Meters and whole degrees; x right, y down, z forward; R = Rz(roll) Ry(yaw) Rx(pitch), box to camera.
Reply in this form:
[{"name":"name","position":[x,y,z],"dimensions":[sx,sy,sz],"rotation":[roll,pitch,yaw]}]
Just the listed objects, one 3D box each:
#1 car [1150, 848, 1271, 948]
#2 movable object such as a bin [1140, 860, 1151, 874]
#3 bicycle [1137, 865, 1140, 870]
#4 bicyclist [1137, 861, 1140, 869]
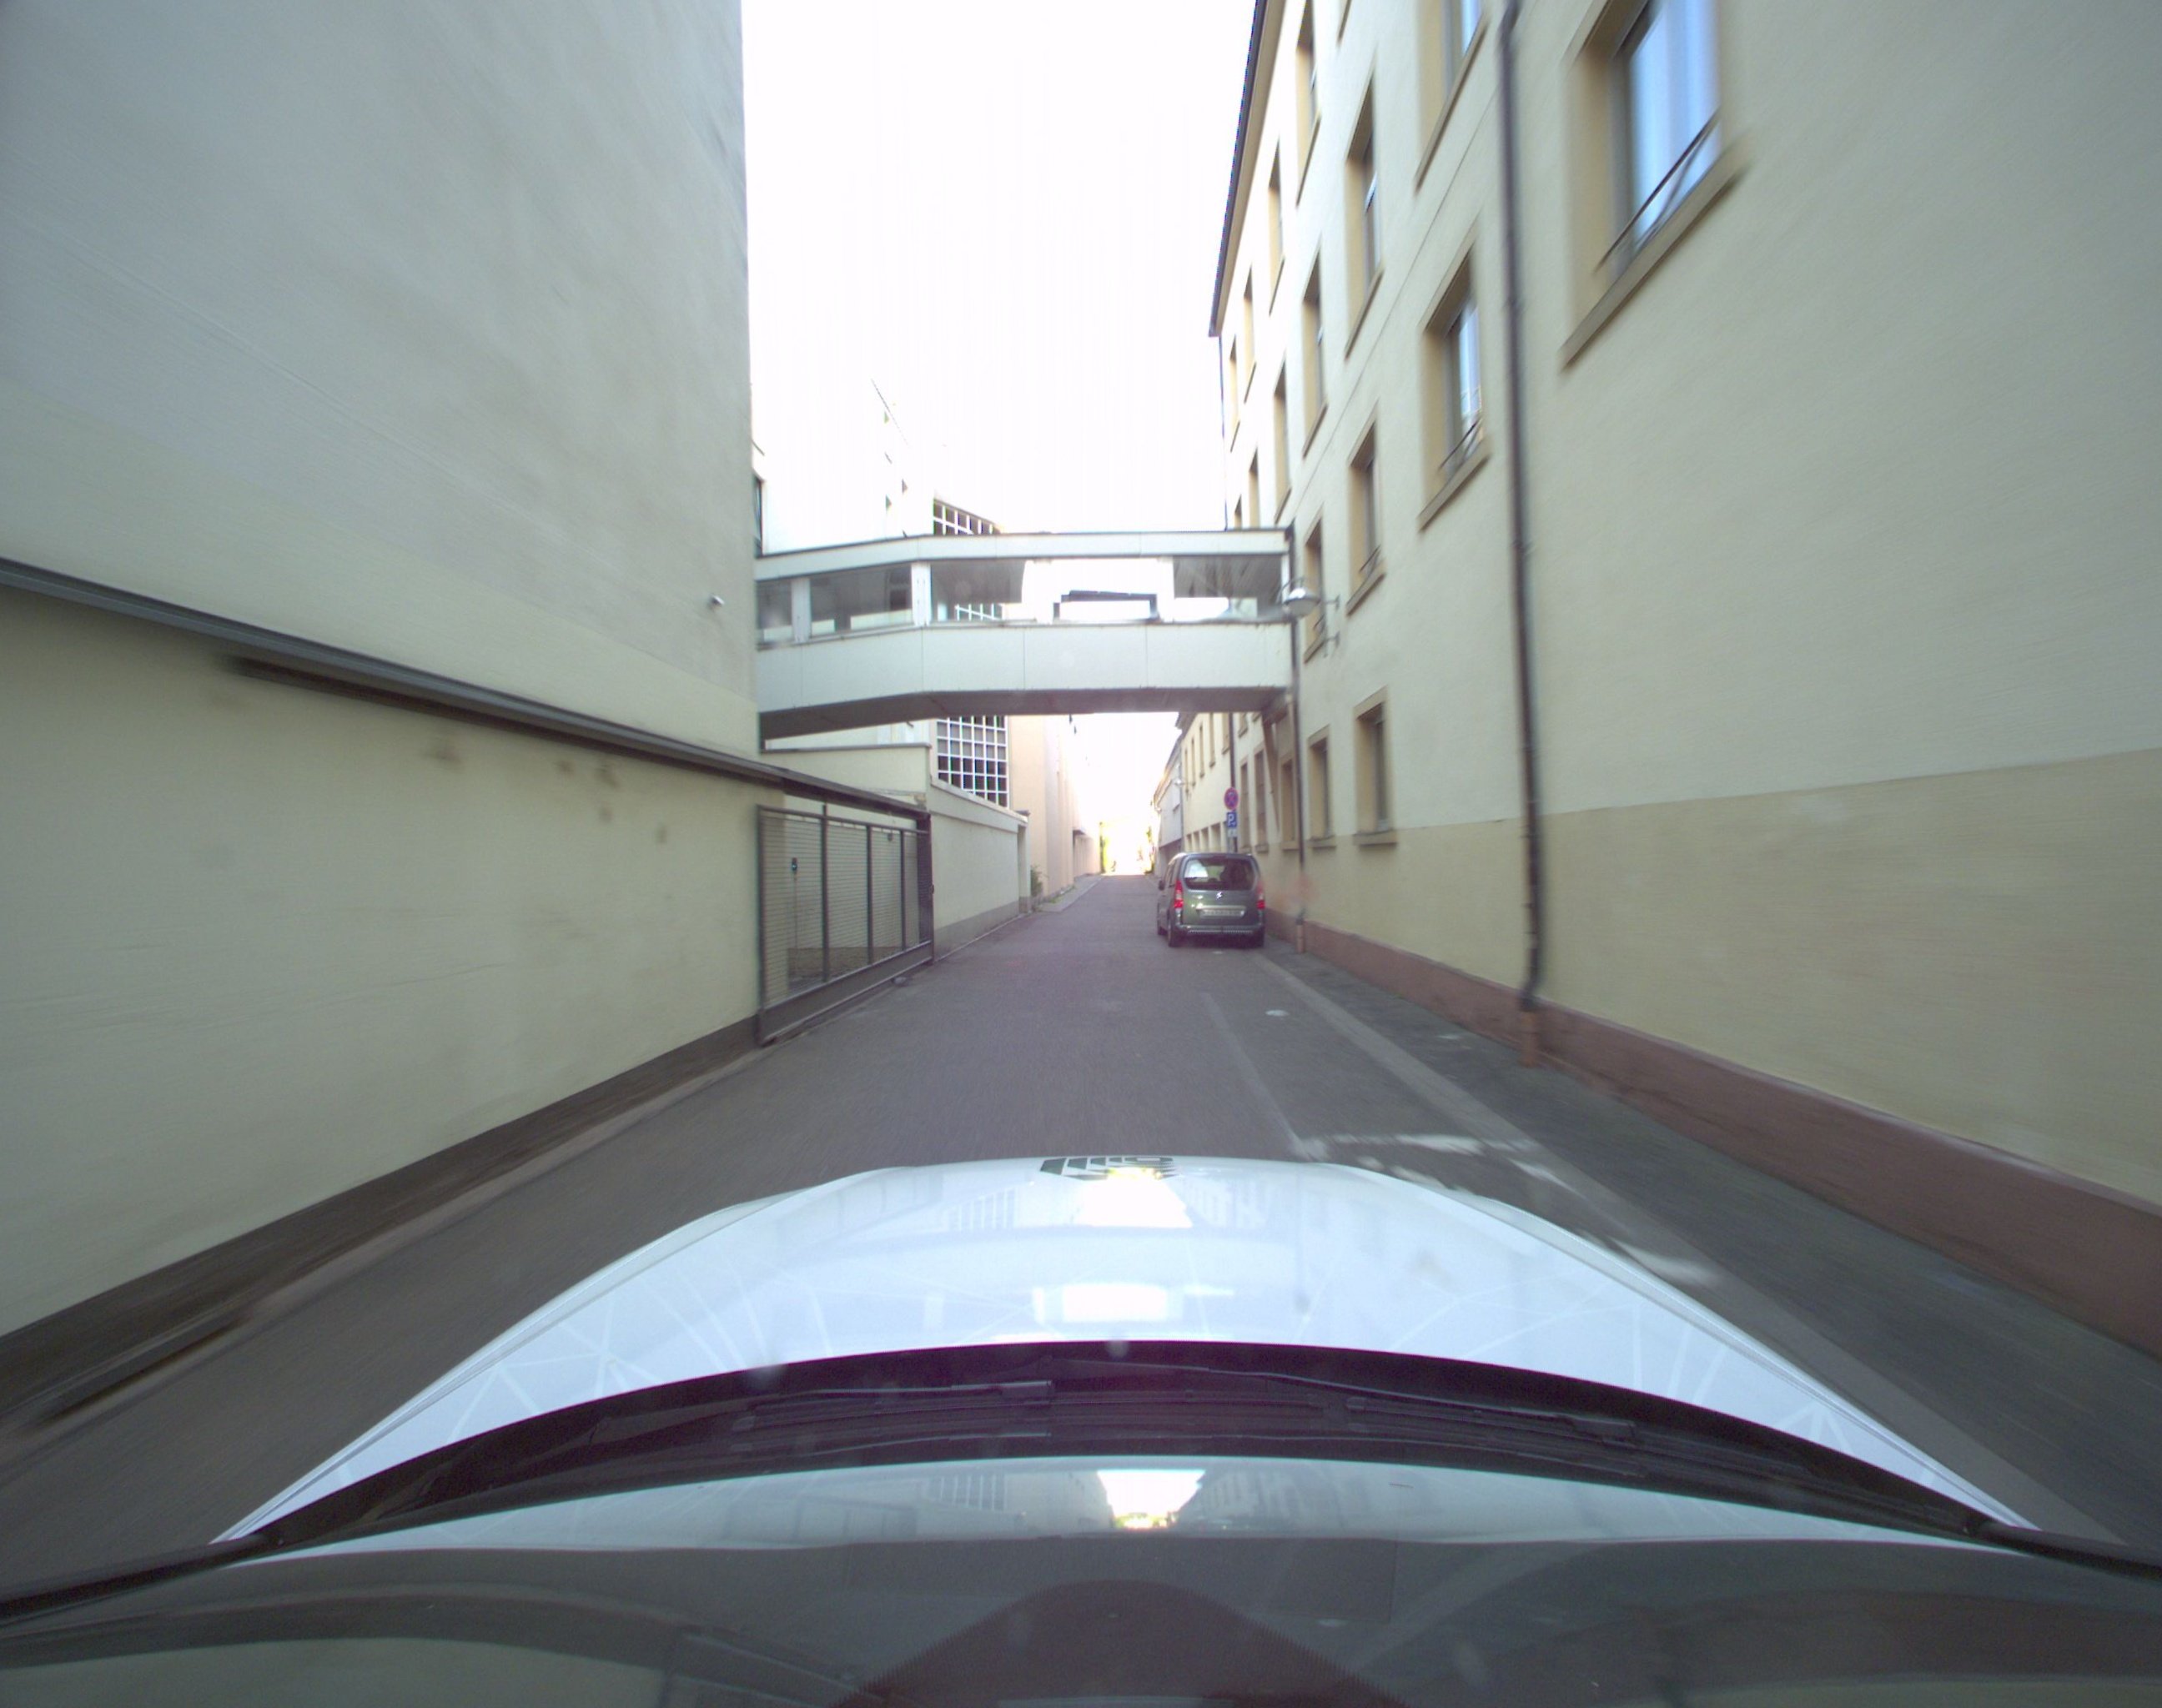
[{"name":"car","position":[2.520,0.822,16.804],"dimensions":[1.849,1.756,4.162],"rotation":[2,-1,1]},{"name":"movable object such as a bin","position":[7.078,1.366,89.017],"dimensions":[1.102,1.436,1.415],"rotation":[-2,1,3]},{"name":"bicycle","position":[9.858,2.274,138.695],"dimensions":[0.440,0.915,1.519],"rotation":[0,0,6]},{"name":"bicyclist","position":[9.863,1.912,138.777],"dimensions":[0.510,1.323,0.559],"rotation":[0,-1,5]}]
